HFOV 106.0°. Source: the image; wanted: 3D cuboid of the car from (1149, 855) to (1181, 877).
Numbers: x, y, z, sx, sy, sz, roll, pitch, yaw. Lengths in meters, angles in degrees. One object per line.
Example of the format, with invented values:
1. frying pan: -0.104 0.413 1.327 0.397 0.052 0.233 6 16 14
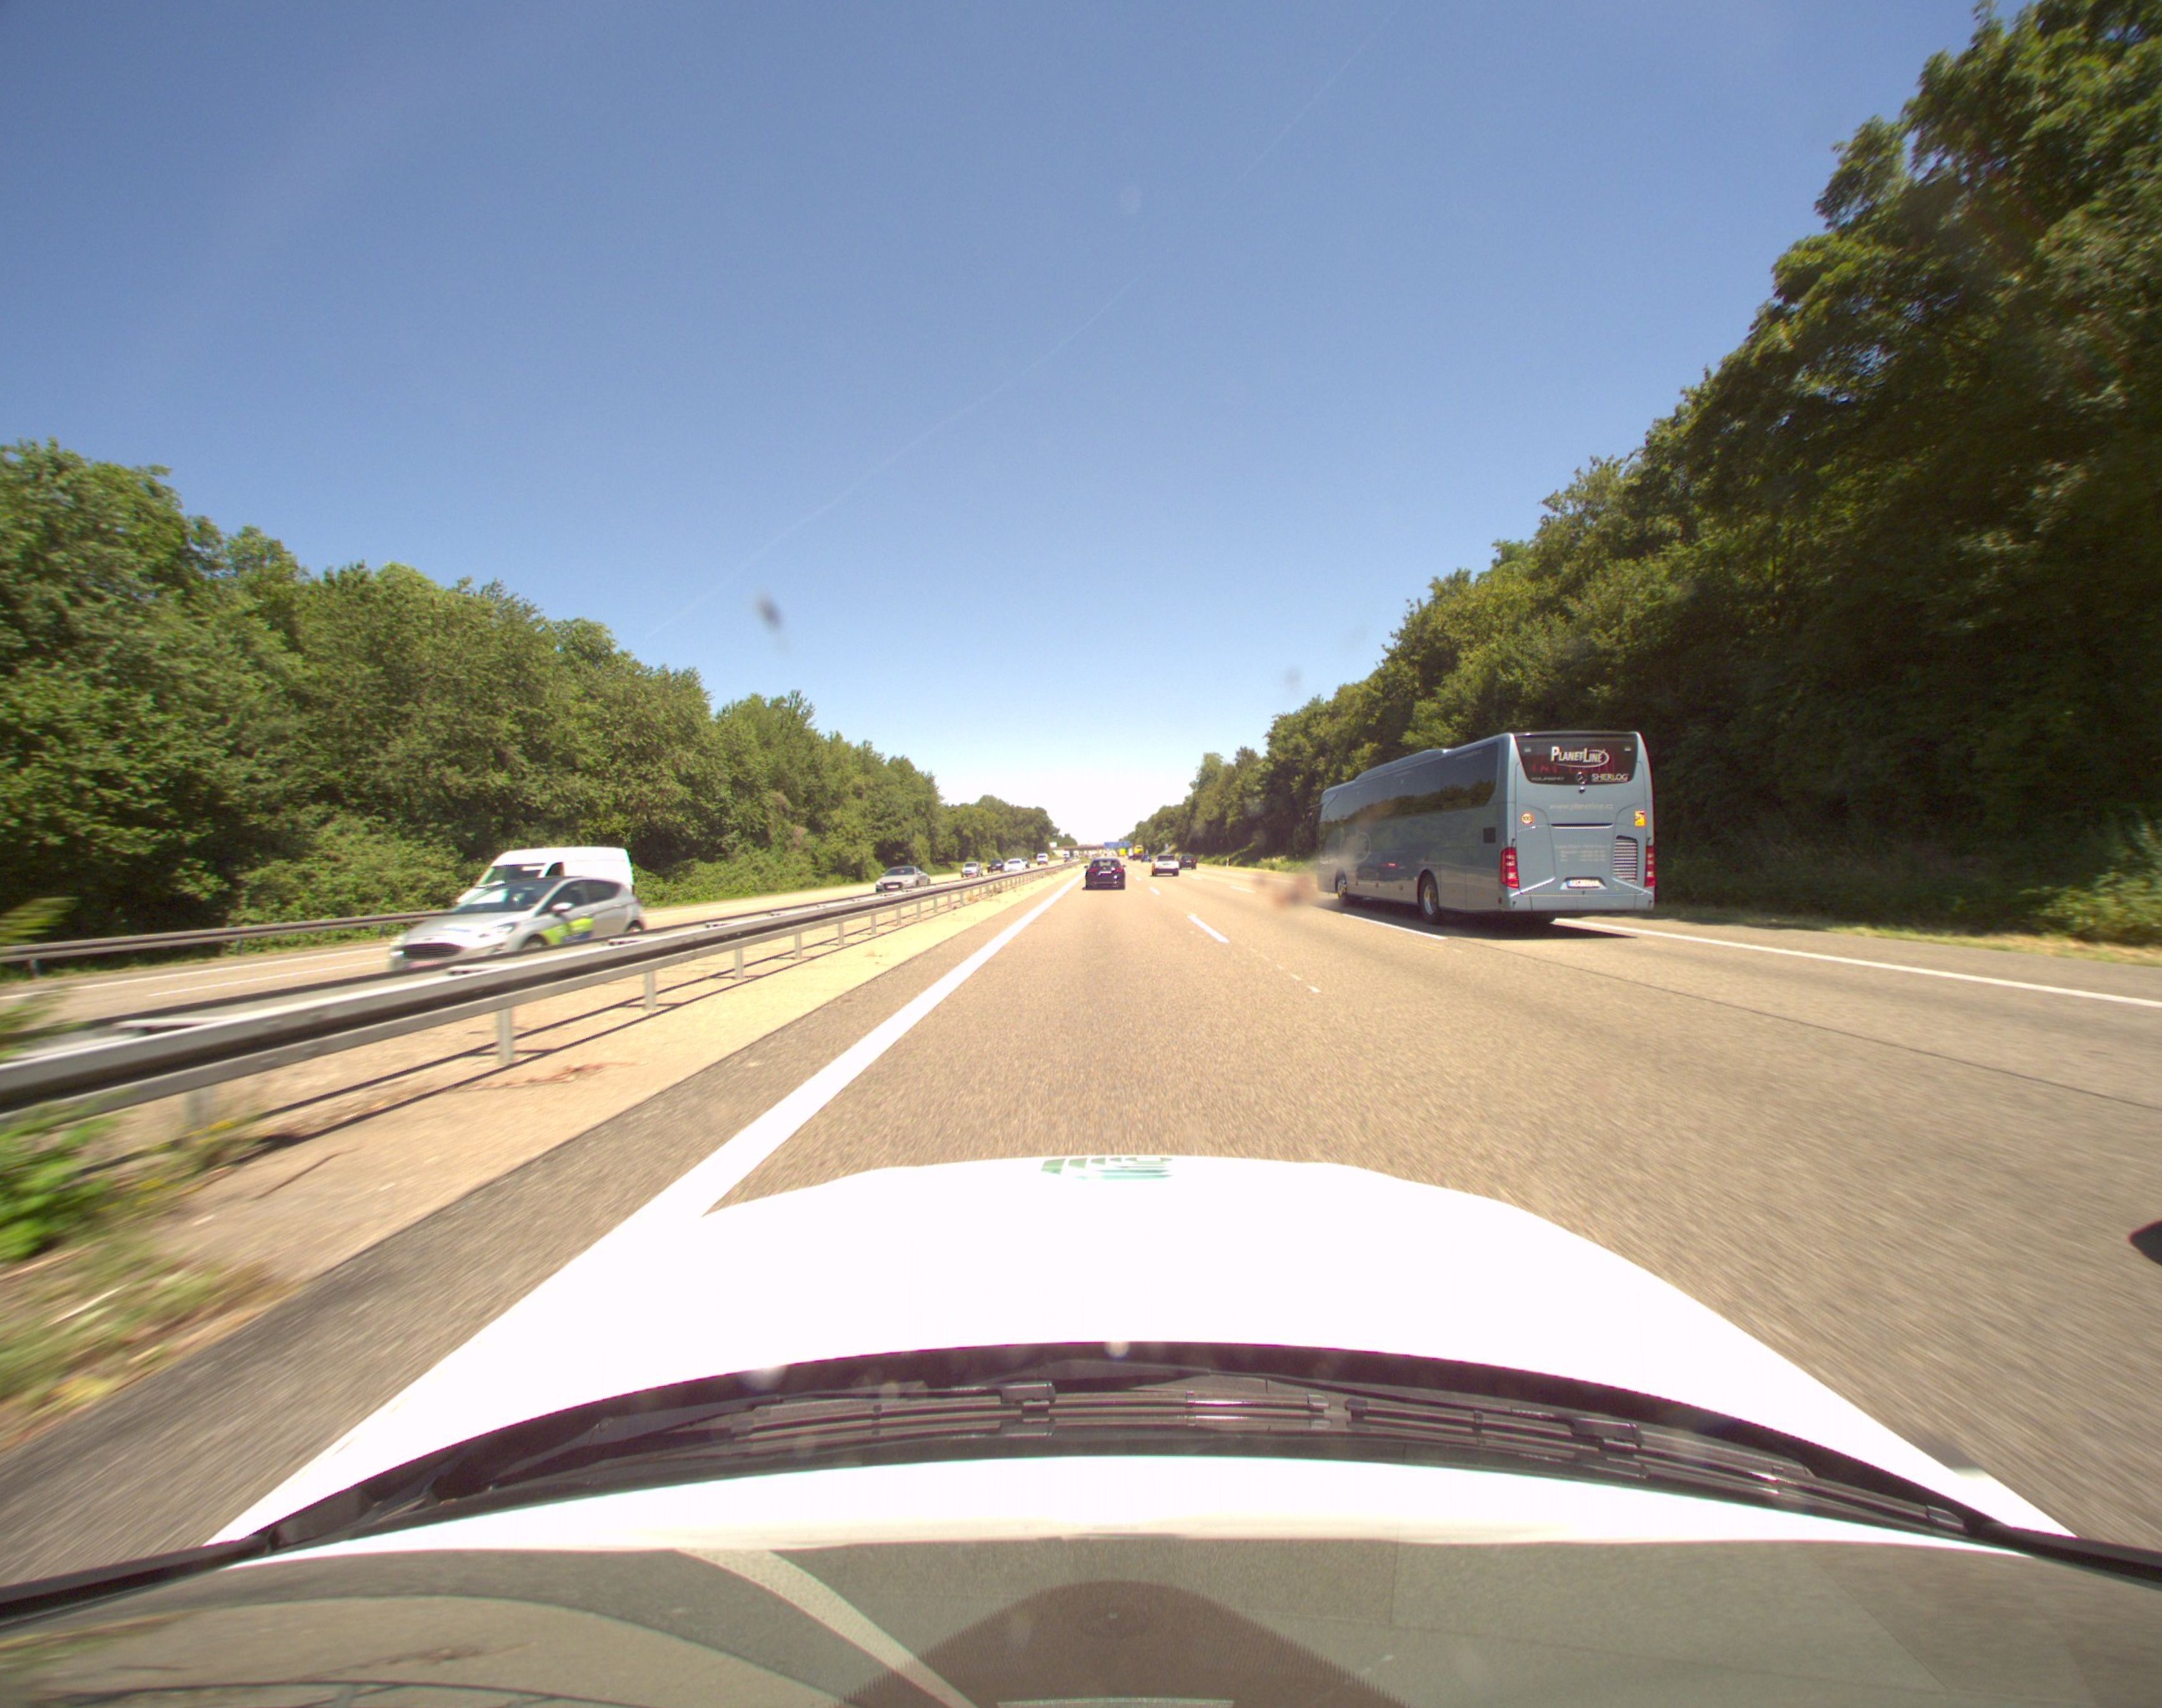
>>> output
1. car: 6.009 0.838 58.370 1.893 1.532 4.242 -1 0 1

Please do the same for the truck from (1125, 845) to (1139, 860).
1. truck: 15.845 -0.444 253.663 3.635 4.590 17.248 0 0 1

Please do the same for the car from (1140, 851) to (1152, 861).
1. car: 12.341 0.360 154.545 2.069 1.751 4.242 -2 0 1

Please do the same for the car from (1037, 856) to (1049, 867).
1. car: -7.919 1.557 170.531 2.080 2.288 5.277 -2 0 1

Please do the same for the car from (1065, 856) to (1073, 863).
1. car: -2.861 1.387 200.847 1.799 1.480 4.568 -2 0 1

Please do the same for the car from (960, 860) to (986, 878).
1. car: -10.486 1.445 79.412 1.814 1.523 4.824 -2 0 1

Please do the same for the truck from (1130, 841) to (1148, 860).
1. truck: 14.304 -0.851 202.414 3.635 4.590 15.767 0 0 1

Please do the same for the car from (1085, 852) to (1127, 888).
1. car: 1.102 0.680 37.339 1.793 1.502 4.242 -1 0 1

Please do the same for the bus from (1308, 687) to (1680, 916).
1. bus: 8.329 -0.829 19.234 2.791 3.596 12.479 -1 0 2

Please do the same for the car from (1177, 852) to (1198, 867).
1. car: 10.749 0.543 82.457 1.782 1.461 3.952 -1 0 3

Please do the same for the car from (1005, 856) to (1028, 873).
1. car: -6.331 0.979 80.252 1.814 1.523 4.824 -2 0 1

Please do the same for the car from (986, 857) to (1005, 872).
1. car: -10.700 1.299 102.349 1.814 1.630 4.798 -2 0 1

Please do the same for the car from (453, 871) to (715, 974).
1. car: -8.580 1.092 14.648 1.832 1.383 4.429 -3 0 2

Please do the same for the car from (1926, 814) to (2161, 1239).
1. car: 4.805 0.612 1.362 1.893 1.532 4.760 -1 0 1

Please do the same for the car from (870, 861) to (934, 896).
1. car: -8.212 1.098 37.787 1.832 1.383 4.429 -3 0 2

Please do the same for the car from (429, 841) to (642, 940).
1. car: -16.381 0.981 25.043 2.079 2.552 6.230 -3 0 2
